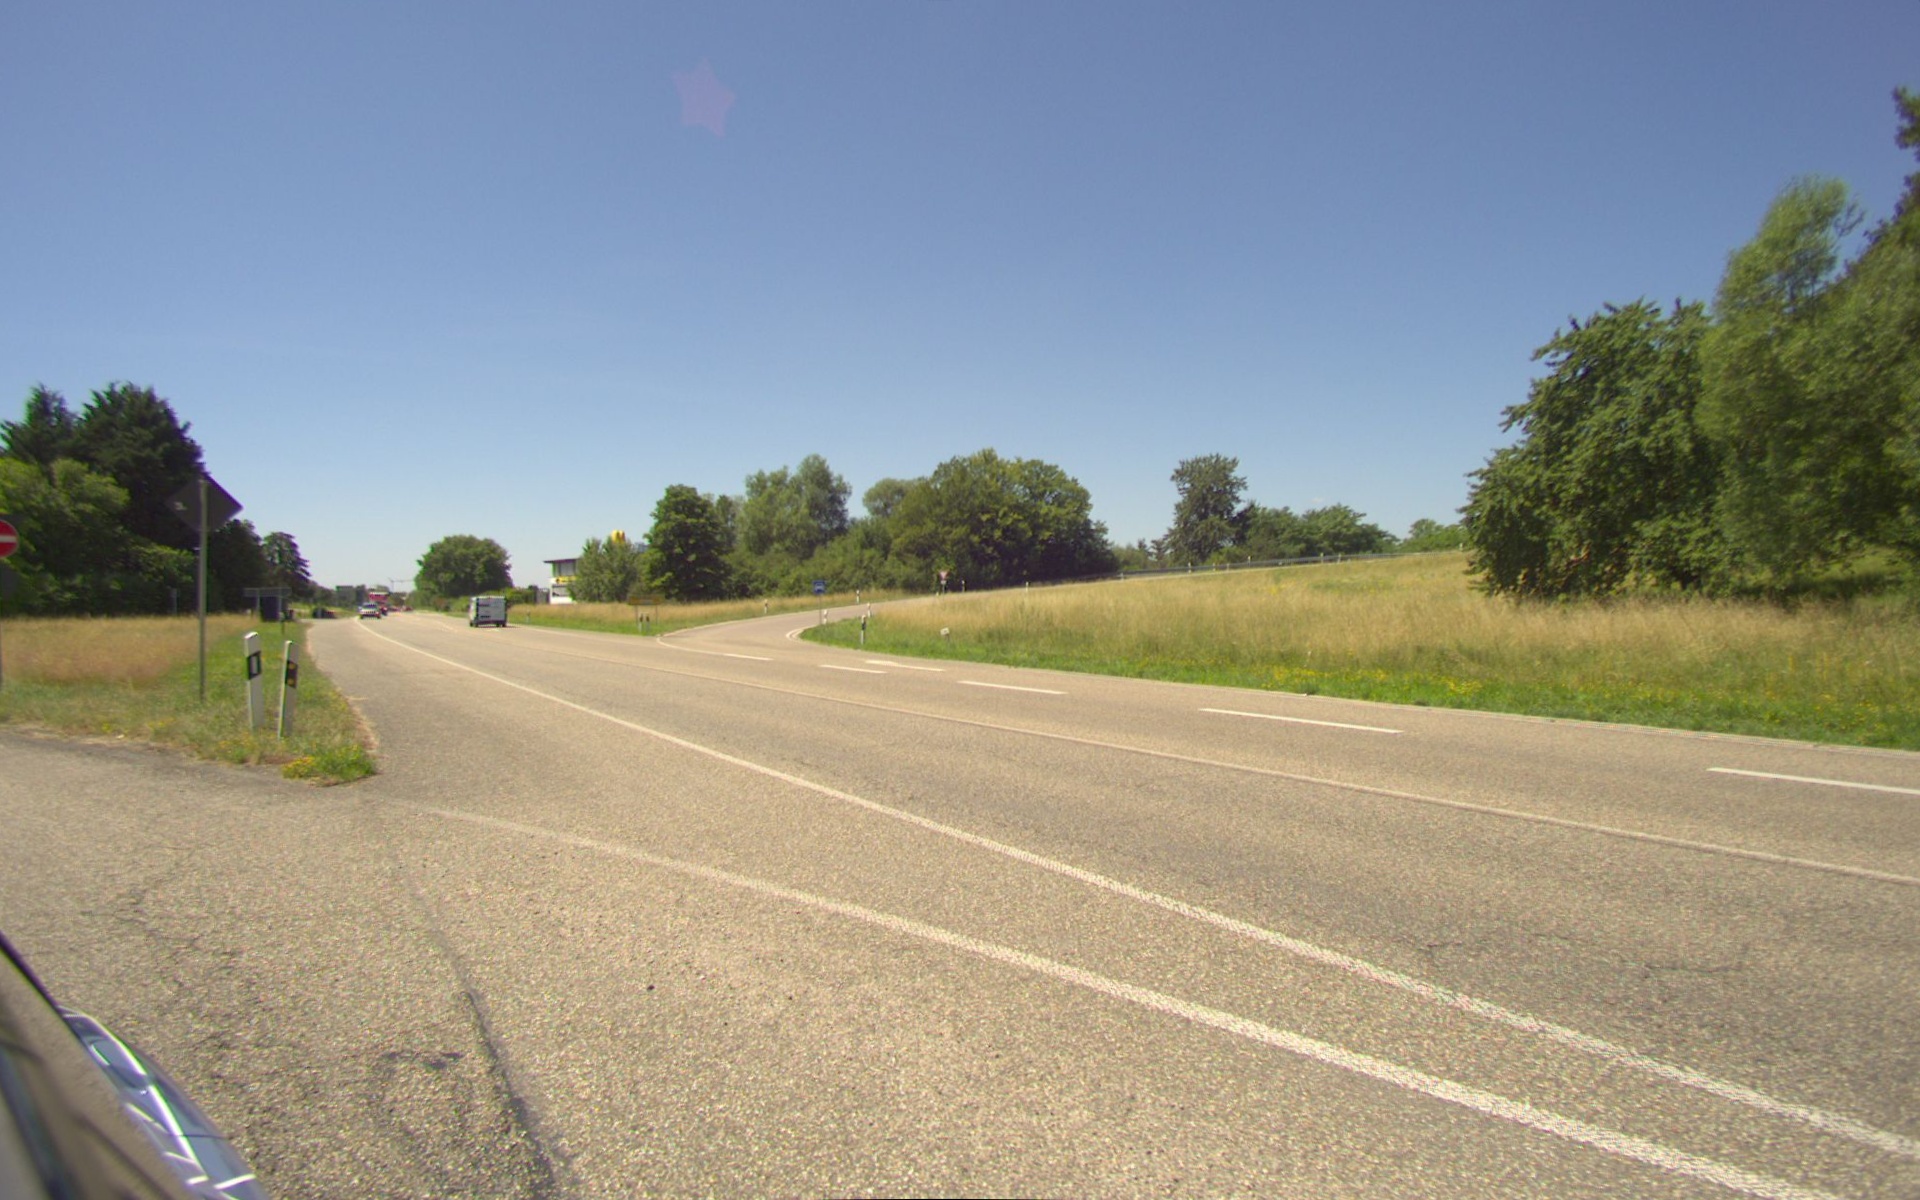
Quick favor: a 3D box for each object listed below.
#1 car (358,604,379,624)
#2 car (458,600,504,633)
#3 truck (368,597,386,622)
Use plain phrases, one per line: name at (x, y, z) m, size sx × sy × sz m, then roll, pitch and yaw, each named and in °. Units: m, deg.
car at (-62.021, 1.451, 106.087) m, size 1.882 × 1.976 × 4.468 m, roll 0°, pitch -2°, yaw -31°
car at (-30.832, 1.086, 65.066) m, size 1.883 × 1.976 × 5.407 m, roll 0°, pitch -3°, yaw -34°
truck at (-79.967, 1.317, 138.749) m, size 1.965 × 3.201 × 7.025 m, roll 0°, pitch -2°, yaw -29°
